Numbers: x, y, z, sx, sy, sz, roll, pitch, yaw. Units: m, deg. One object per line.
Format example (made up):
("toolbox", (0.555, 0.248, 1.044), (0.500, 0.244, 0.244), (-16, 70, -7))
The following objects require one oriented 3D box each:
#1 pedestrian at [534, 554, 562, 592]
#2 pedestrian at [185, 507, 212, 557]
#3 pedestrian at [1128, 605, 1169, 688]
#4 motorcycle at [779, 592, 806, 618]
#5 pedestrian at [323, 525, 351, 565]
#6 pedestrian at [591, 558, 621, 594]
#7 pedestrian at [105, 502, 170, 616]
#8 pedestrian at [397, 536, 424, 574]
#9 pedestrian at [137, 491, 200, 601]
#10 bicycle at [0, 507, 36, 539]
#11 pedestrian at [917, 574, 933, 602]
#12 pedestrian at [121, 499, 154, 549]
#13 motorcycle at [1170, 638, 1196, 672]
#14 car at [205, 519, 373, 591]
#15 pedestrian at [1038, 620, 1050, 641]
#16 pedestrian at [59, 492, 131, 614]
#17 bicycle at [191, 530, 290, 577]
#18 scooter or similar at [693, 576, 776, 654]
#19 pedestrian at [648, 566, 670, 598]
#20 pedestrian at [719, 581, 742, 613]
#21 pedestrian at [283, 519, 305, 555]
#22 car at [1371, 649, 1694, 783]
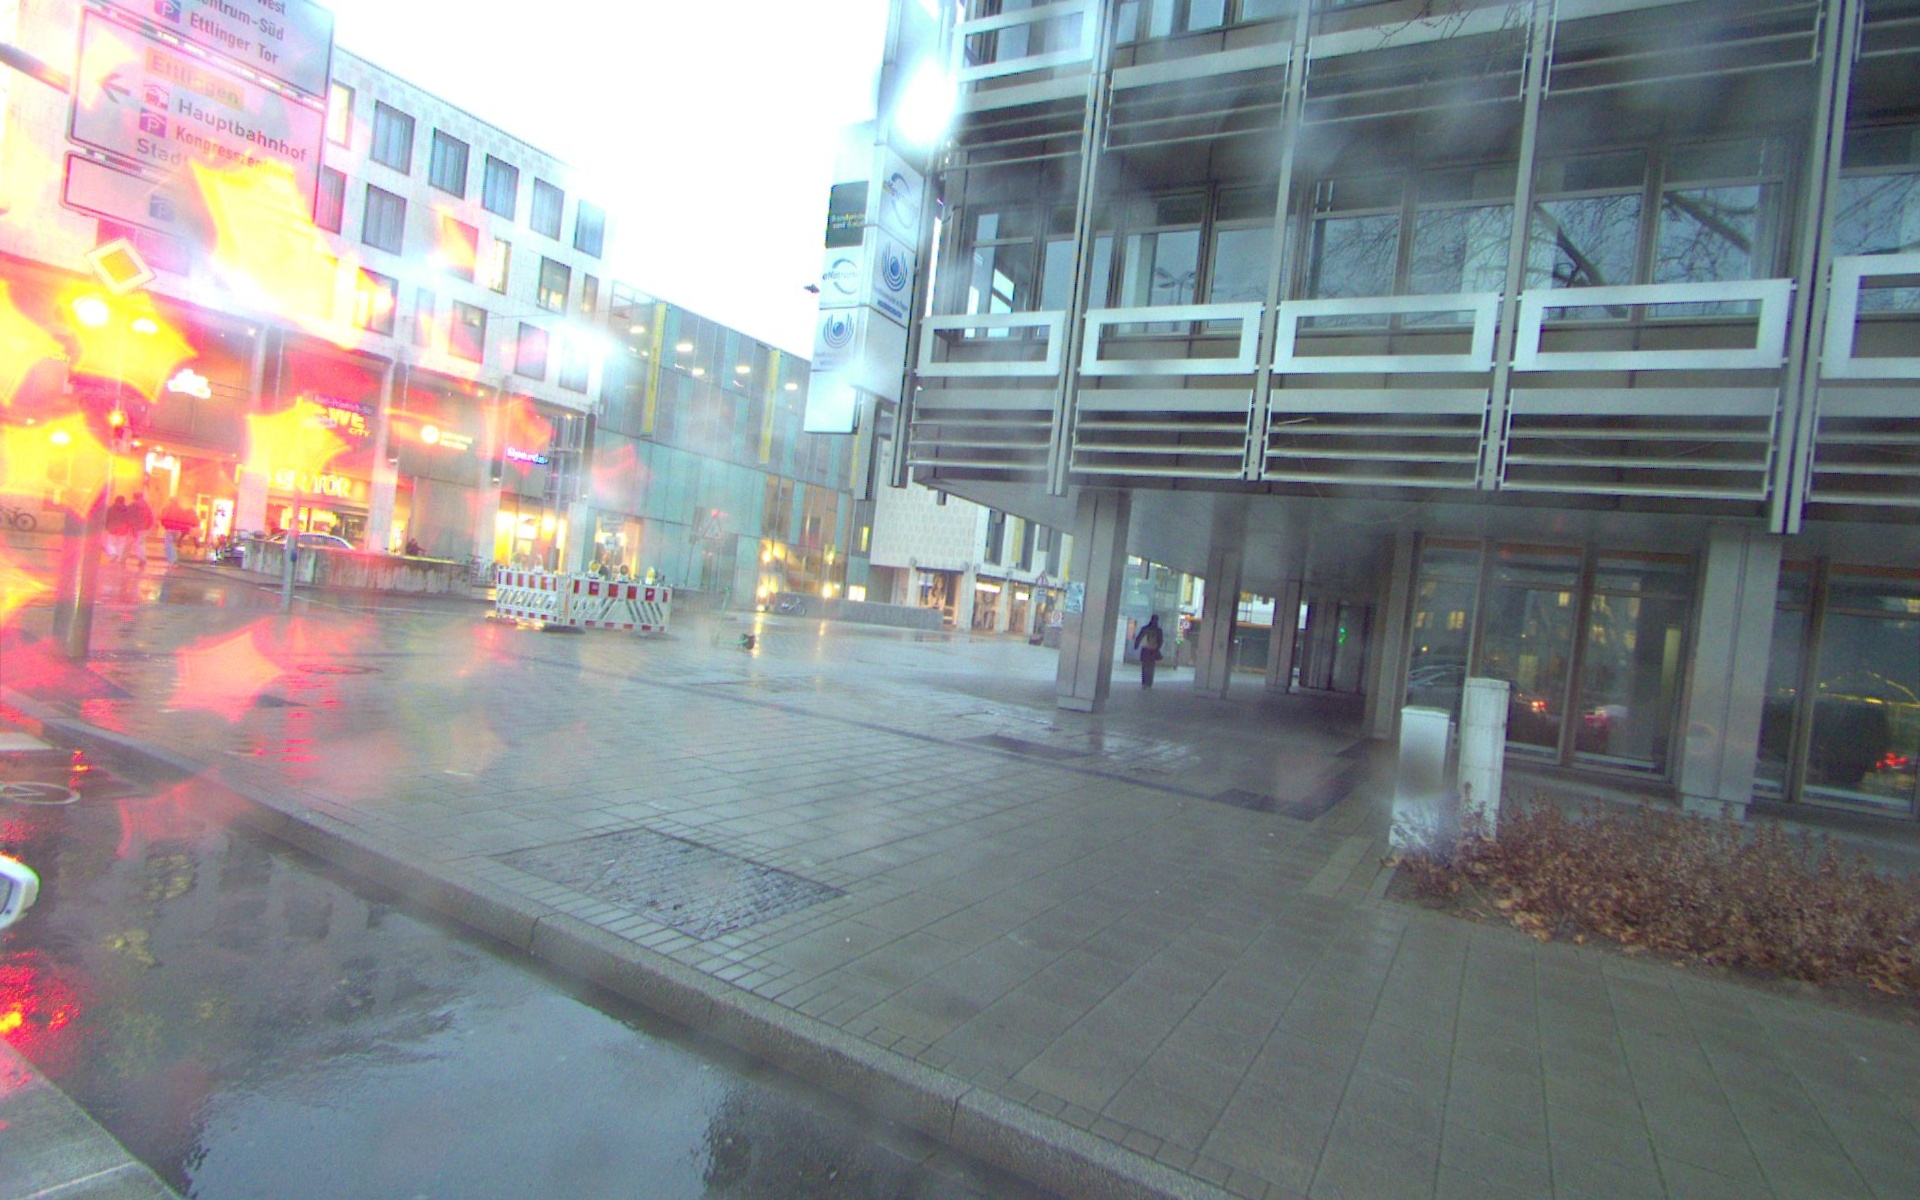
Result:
("pedestrian", (-19.606, -1.275, 47.865), (0.770, 1.703, 0.742), (6, -1, 38))
("pedestrian", (-32.715, -2.930, 43.218), (0.788, 2.039, 0.586), (6, 1, -39))
("pedestrian", (4.299, 1.071, 22.910), (0.678, 1.796, 0.660), (7, -1, 16))
("motorcycle", (-10.155, 0.291, 61.157), (0.585, 1.368, 1.491), (7, -1, 36))
("pedestrian", (-29.266, -2.580, 47.240), (0.770, 1.703, 0.742), (6, -1, 38))
("pedestrian", (-18.495, -1.235, 52.608), (0.810, 1.703, 1.032), (6, -1, 31))
("pedestrian", (-18.705, -0.918, 22.886), (0.745, 2.469, 0.691), (7, -1, 31))
("pedestrian", (-26.639, -2.182, 48.802), (0.519, 1.705, 0.894), (6, 0, 31))
("pedestrian", (-18.774, -1.271, 23.860), (0.778, 2.477, 0.694), (7, -1, 32))
("bicycle", (-36.509, -3.001, 38.417), (0.515, 1.082, 1.651), (7, -2, 28))
("pedestrian", (-2.233, -0.779, 64.082), (0.573, 1.703, 0.542), (6, -1, 38))
("pedestrian", (-35.678, -3.305, 43.650), (0.688, 2.039, 0.845), (7, 1, 40))
("motorcycle", (9.801, 2.420, 44.194), (0.584, 1.368, 1.493), (7, -1, 29))
("car", (-21.708, -1.424, 32.697), (1.968, 1.636, 3.994), (6, -2, 33))
("pedestrian", (7.050, 2.585, 84.408), (0.573, 1.703, 0.542), (6, -1, 38))
("pedestrian", (-18.317, -0.989, 21.305), (0.745, 2.469, 0.716), (7, -1, 31))
("bicycle", (-26.335, -1.683, 36.877), (0.941, 1.375, 2.718), (6, -1, 28))
("scooter or similar", (-4.534, 0.298, 20.193), (1.470, 1.368, 0.593), (7, -1, 32))
("pedestrian", (-17.681, -1.071, 59.076), (0.786, 1.760, 0.767), (6, 1, -43))
("pedestrian", (-13.204, -0.183, 57.877), (0.770, 1.703, 0.742), (6, -1, 38))
("pedestrian", (-34.211, -3.218, 51.686), (0.729, 1.740, 0.733), (6, 1, -31))
("car", (8.605, 1.657, 15.347), (3.935, 1.327, 1.994), (6, 1, 33))
